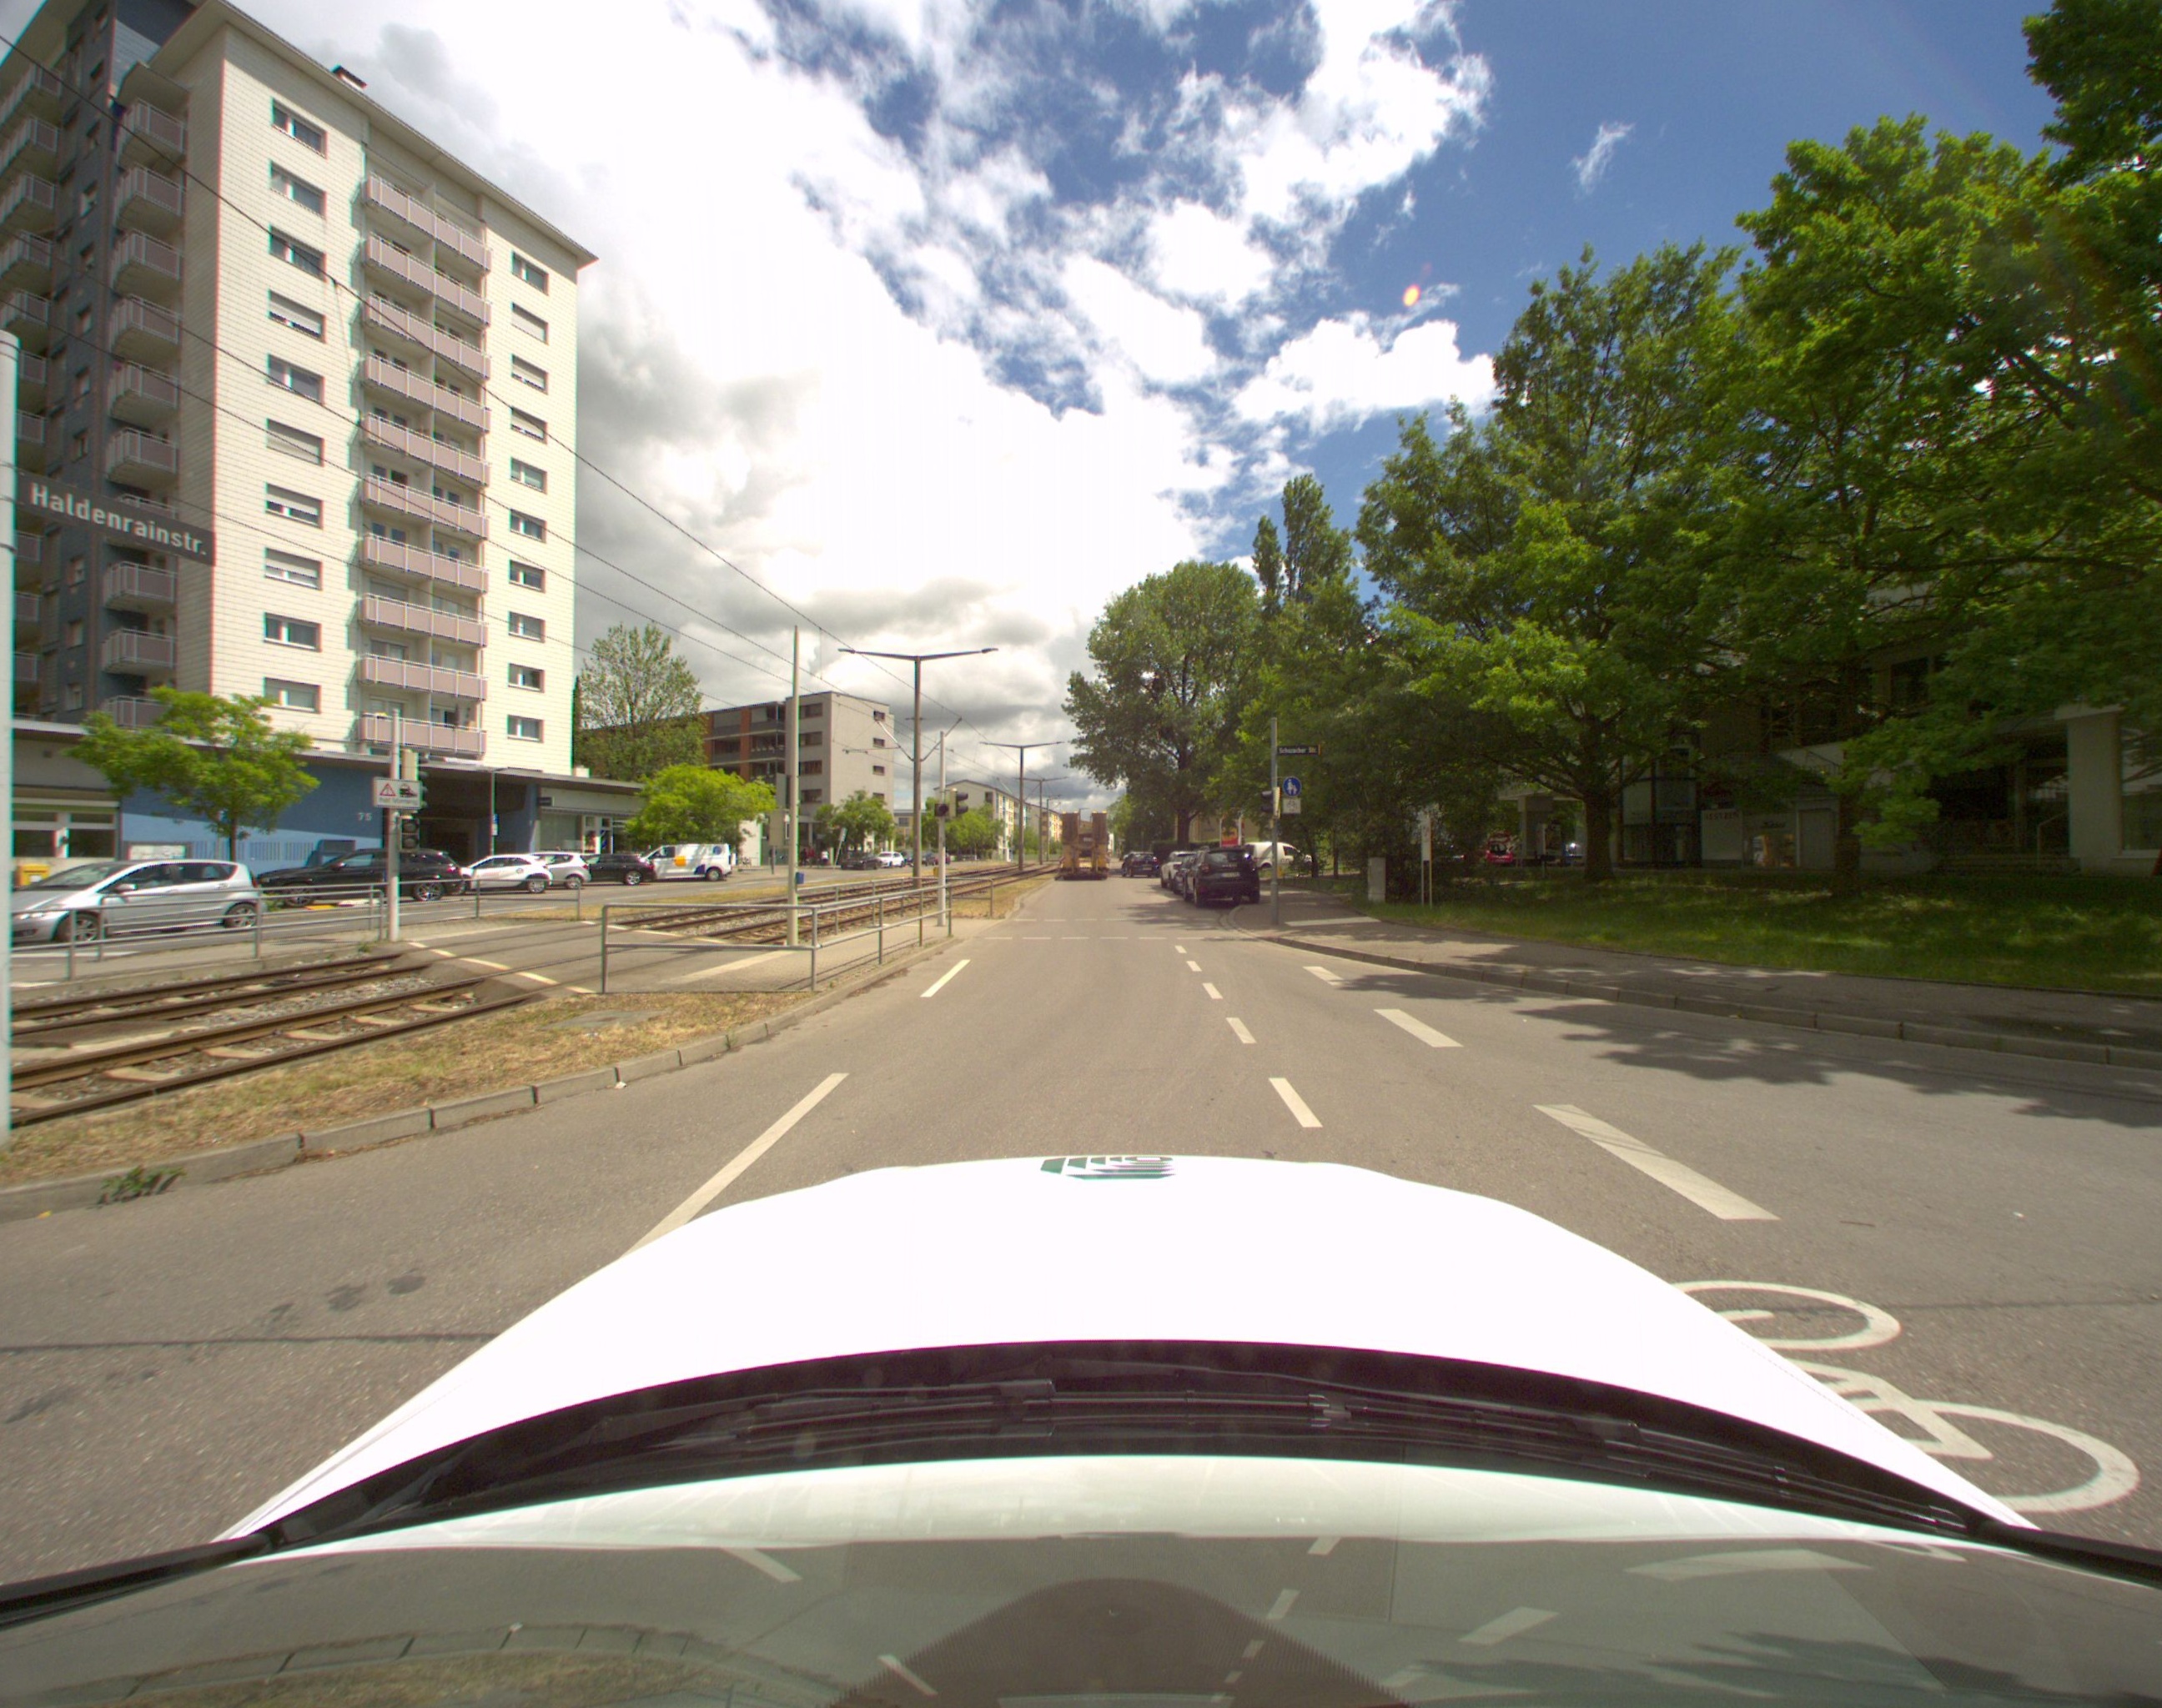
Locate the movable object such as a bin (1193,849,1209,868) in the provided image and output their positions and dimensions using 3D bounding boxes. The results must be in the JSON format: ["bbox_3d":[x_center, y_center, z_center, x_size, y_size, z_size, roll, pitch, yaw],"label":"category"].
[{"bbox_3d":[9.144,0.332,62.099,1.094,1.439,0.761,-1,1,0],"label":"movable object such as a bin"}]

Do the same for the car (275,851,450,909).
[{"bbox_3d":[-22.818,0.769,25.976,4.023,1.591,1.909,-2,1,-44],"label":"car"}]

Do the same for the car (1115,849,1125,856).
[{"bbox_3d":[7.648,-0.281,160.560,1.985,1.387,4.003,-1,1,3],"label":"car"}]

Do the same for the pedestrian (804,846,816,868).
[{"bbox_3d":[-22.156,0.226,66.606,0.609,1.792,0.844,-1,1,2],"label":"pedestrian"}]

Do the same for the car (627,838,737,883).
[{"bbox_3d":[-20.543,0.294,42.017,4.786,2.156,1.884,-2,1,-39],"label":"car"}]

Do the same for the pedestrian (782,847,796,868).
[{"bbox_3d":[-23.070,0.249,64.349,0.836,1.649,0.615,0,1,9],"label":"pedestrian"}]

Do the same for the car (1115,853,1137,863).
[{"bbox_3d":[7.856,0.696,141.817,3.572,1.584,2.008,-1,-1,15],"label":"car"}]

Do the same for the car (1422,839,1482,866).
[{"bbox_3d":[21.530,-0.127,47.470,1.931,1.490,4.006,-1,1,5],"label":"car"}]

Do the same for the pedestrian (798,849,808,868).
[{"bbox_3d":[-23.418,0.334,68.596,0.667,1.573,0.683,-2,1,-25],"label":"pedestrian"}]

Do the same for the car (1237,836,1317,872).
[{"bbox_3d":[10.819,-0.027,44.954,4.002,1.822,1.798,-2,1,-21],"label":"car"}]

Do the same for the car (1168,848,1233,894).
[{"bbox_3d":[4.147,0.546,28.776,1.639,1.458,4.074,-1,1,-1],"label":"car"}]

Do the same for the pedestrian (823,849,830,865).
[{"bbox_3d":[-23.492,0.300,75.203,0.500,1.460,0.556,-2,1,-25],"label":"pedestrian"}]

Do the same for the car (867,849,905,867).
[{"bbox_3d":[-17.344,0.333,72.584,1.744,1.475,4.411,-1,1,8],"label":"car"}]

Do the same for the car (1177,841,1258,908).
[{"bbox_3d":[3.948,0.526,24.277,1.638,1.762,4.569,-1,1,0],"label":"car"}]

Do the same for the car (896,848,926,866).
[{"bbox_3d":[-16.292,0.298,78.303,1.987,1.662,4.100,0,1,1],"label":"car"}]

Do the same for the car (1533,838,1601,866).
[{"bbox_3d":[28.630,-0.155,48.125,1.736,1.528,4.002,-1,1,2],"label":"car"}]

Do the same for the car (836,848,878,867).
[{"bbox_3d":[-17.772,0.287,64.882,1.726,1.428,4.387,-1,0,5],"label":"car"}]

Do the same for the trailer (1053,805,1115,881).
[{"bbox_3d":[0.240,-0.644,46.789,3.040,3.772,11.614,-1,1,1],"label":"trailer"}]

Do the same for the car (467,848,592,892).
[{"bbox_3d":[-22.805,0.609,33.746,4.023,1.632,1.883,-2,1,-43],"label":"car"}]

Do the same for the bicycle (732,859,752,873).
[{"bbox_3d":[-29.610,1.043,71.147,1.948,1.212,0.673,-1,1,34],"label":"bicycle"}]

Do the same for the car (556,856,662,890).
[{"bbox_3d":[-21.885,0.833,37.836,4.020,1.383,1.884,-2,1,-39],"label":"car"}]

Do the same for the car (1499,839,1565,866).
[{"bbox_3d":[25.854,-0.106,46.842,1.736,1.470,4.002,-1,1,2],"label":"car"}]

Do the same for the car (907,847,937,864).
[{"bbox_3d":[-16.445,0.123,84.392,1.984,1.648,4.107,-1,1,6],"label":"car"}]

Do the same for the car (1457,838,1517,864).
[{"bbox_3d":[23.623,-0.189,47.521,1.735,1.443,4.006,-1,1,5],"label":"car"}]

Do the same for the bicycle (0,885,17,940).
[{"bbox_3d":[-22.392,1.173,15.899,2.416,1.066,0.705,-1,1,3],"label":"bicycle"}]

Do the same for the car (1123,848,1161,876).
[{"bbox_3d":[3.424,0.413,46.557,1.810,1.448,3.825,-1,1,-1],"label":"car"}]

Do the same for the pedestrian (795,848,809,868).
[{"bbox_3d":[-22.004,0.319,64.276,0.596,1.533,0.977,-1,1,15],"label":"pedestrian"}]

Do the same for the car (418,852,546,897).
[{"bbox_3d":[-22.573,0.726,30.825,3.784,1.496,1.728,-2,1,-37],"label":"car"}]

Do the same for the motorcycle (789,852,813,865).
[{"bbox_3d":[-26.220,0.398,76.267,1.885,1.178,0.741,-1,1,0],"label":"motorcycle"}]

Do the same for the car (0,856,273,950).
[{"bbox_3d":[-18.701,0.859,15.912,1.808,1.532,3.762,-1,1,7],"label":"car"}]

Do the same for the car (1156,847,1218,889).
[{"bbox_3d":[4.266,0.526,33.526,1.779,1.565,4.566,-1,1,-2],"label":"car"}]

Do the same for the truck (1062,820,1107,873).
[{"bbox_3d":[0.295,-0.553,56.209,2.824,3.330,7.986,-1,1,1],"label":"truck"}]

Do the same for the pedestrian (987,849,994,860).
[{"bbox_3d":[-12.851,0.065,115.762,0.745,1.661,0.871,-1,1,7],"label":"pedestrian"}]

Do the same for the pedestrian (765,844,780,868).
[{"bbox_3d":[-23.583,0.163,62.167,0.847,1.792,0.865,-2,1,-34],"label":"pedestrian"}]

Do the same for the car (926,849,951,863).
[{"bbox_3d":[-15.947,0.190,91.270,1.603,1.426,3.432,-1,1,9],"label":"car"}]
